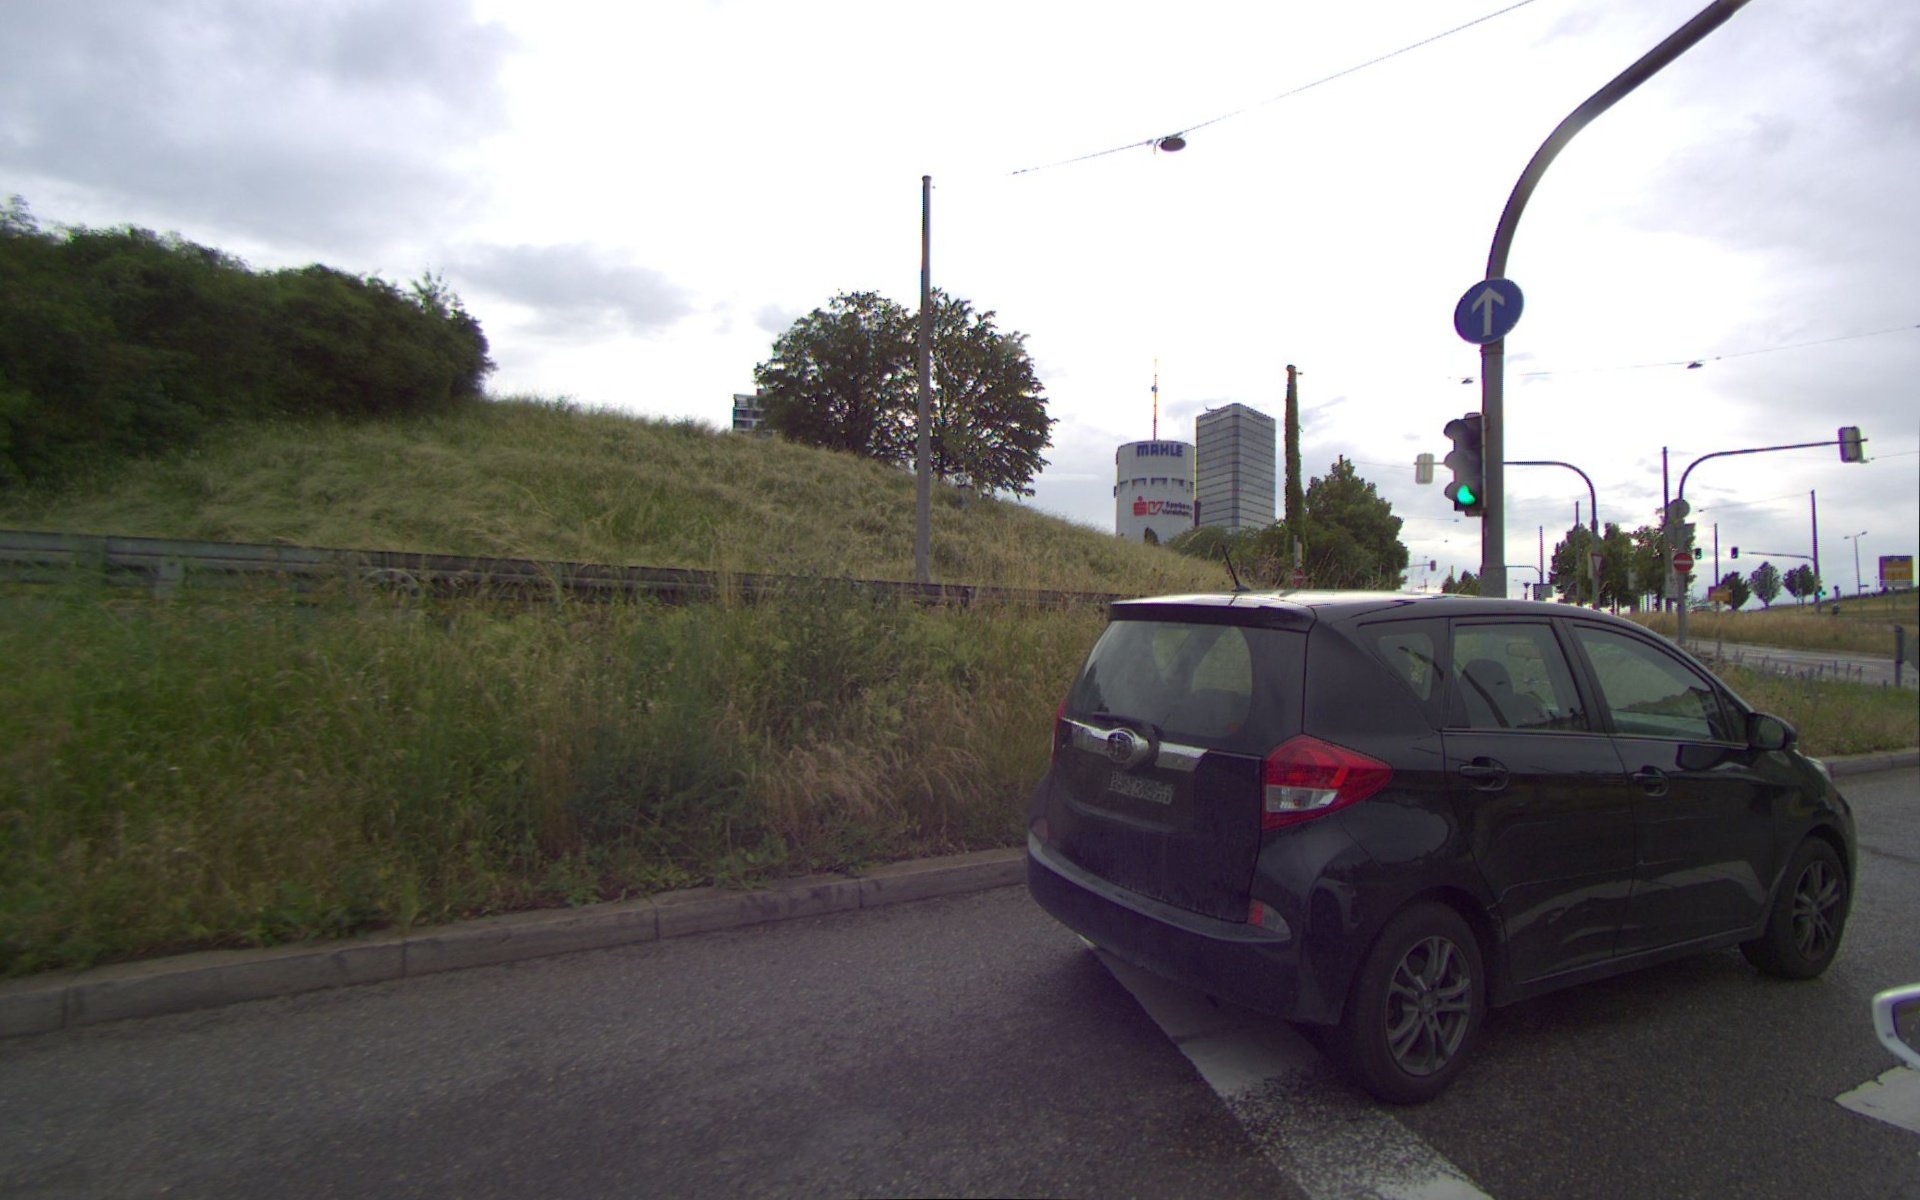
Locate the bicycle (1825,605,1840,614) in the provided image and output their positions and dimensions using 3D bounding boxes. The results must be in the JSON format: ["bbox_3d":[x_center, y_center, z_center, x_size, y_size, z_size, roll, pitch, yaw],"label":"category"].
[{"bbox_3d":[80.856,0.899,93.089,0.510,0.785,1.620,1,0,22],"label":"bicycle"}]

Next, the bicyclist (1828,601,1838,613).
[{"bbox_3d":[80.847,0.647,93.044,0.515,1.060,0.580,3,1,22],"label":"bicyclist"}]

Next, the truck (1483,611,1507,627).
[{"bbox_3d":[110.320,3.868,207.110,3.203,3.115,6.177,3,1,18],"label":"truck"}]

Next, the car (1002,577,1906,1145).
[{"bbox_3d":[2.211,0.740,4.334,3.732,1.524,1.634,2,1,-29],"label":"car"}]

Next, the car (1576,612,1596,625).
[{"bbox_3d":[87.341,2.580,140.181,1.963,1.658,4.415,3,1,27],"label":"car"}]

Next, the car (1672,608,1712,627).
[{"bbox_3d":[68.134,1.635,93.546,1.962,1.639,4.849,1,0,24],"label":"car"}]
